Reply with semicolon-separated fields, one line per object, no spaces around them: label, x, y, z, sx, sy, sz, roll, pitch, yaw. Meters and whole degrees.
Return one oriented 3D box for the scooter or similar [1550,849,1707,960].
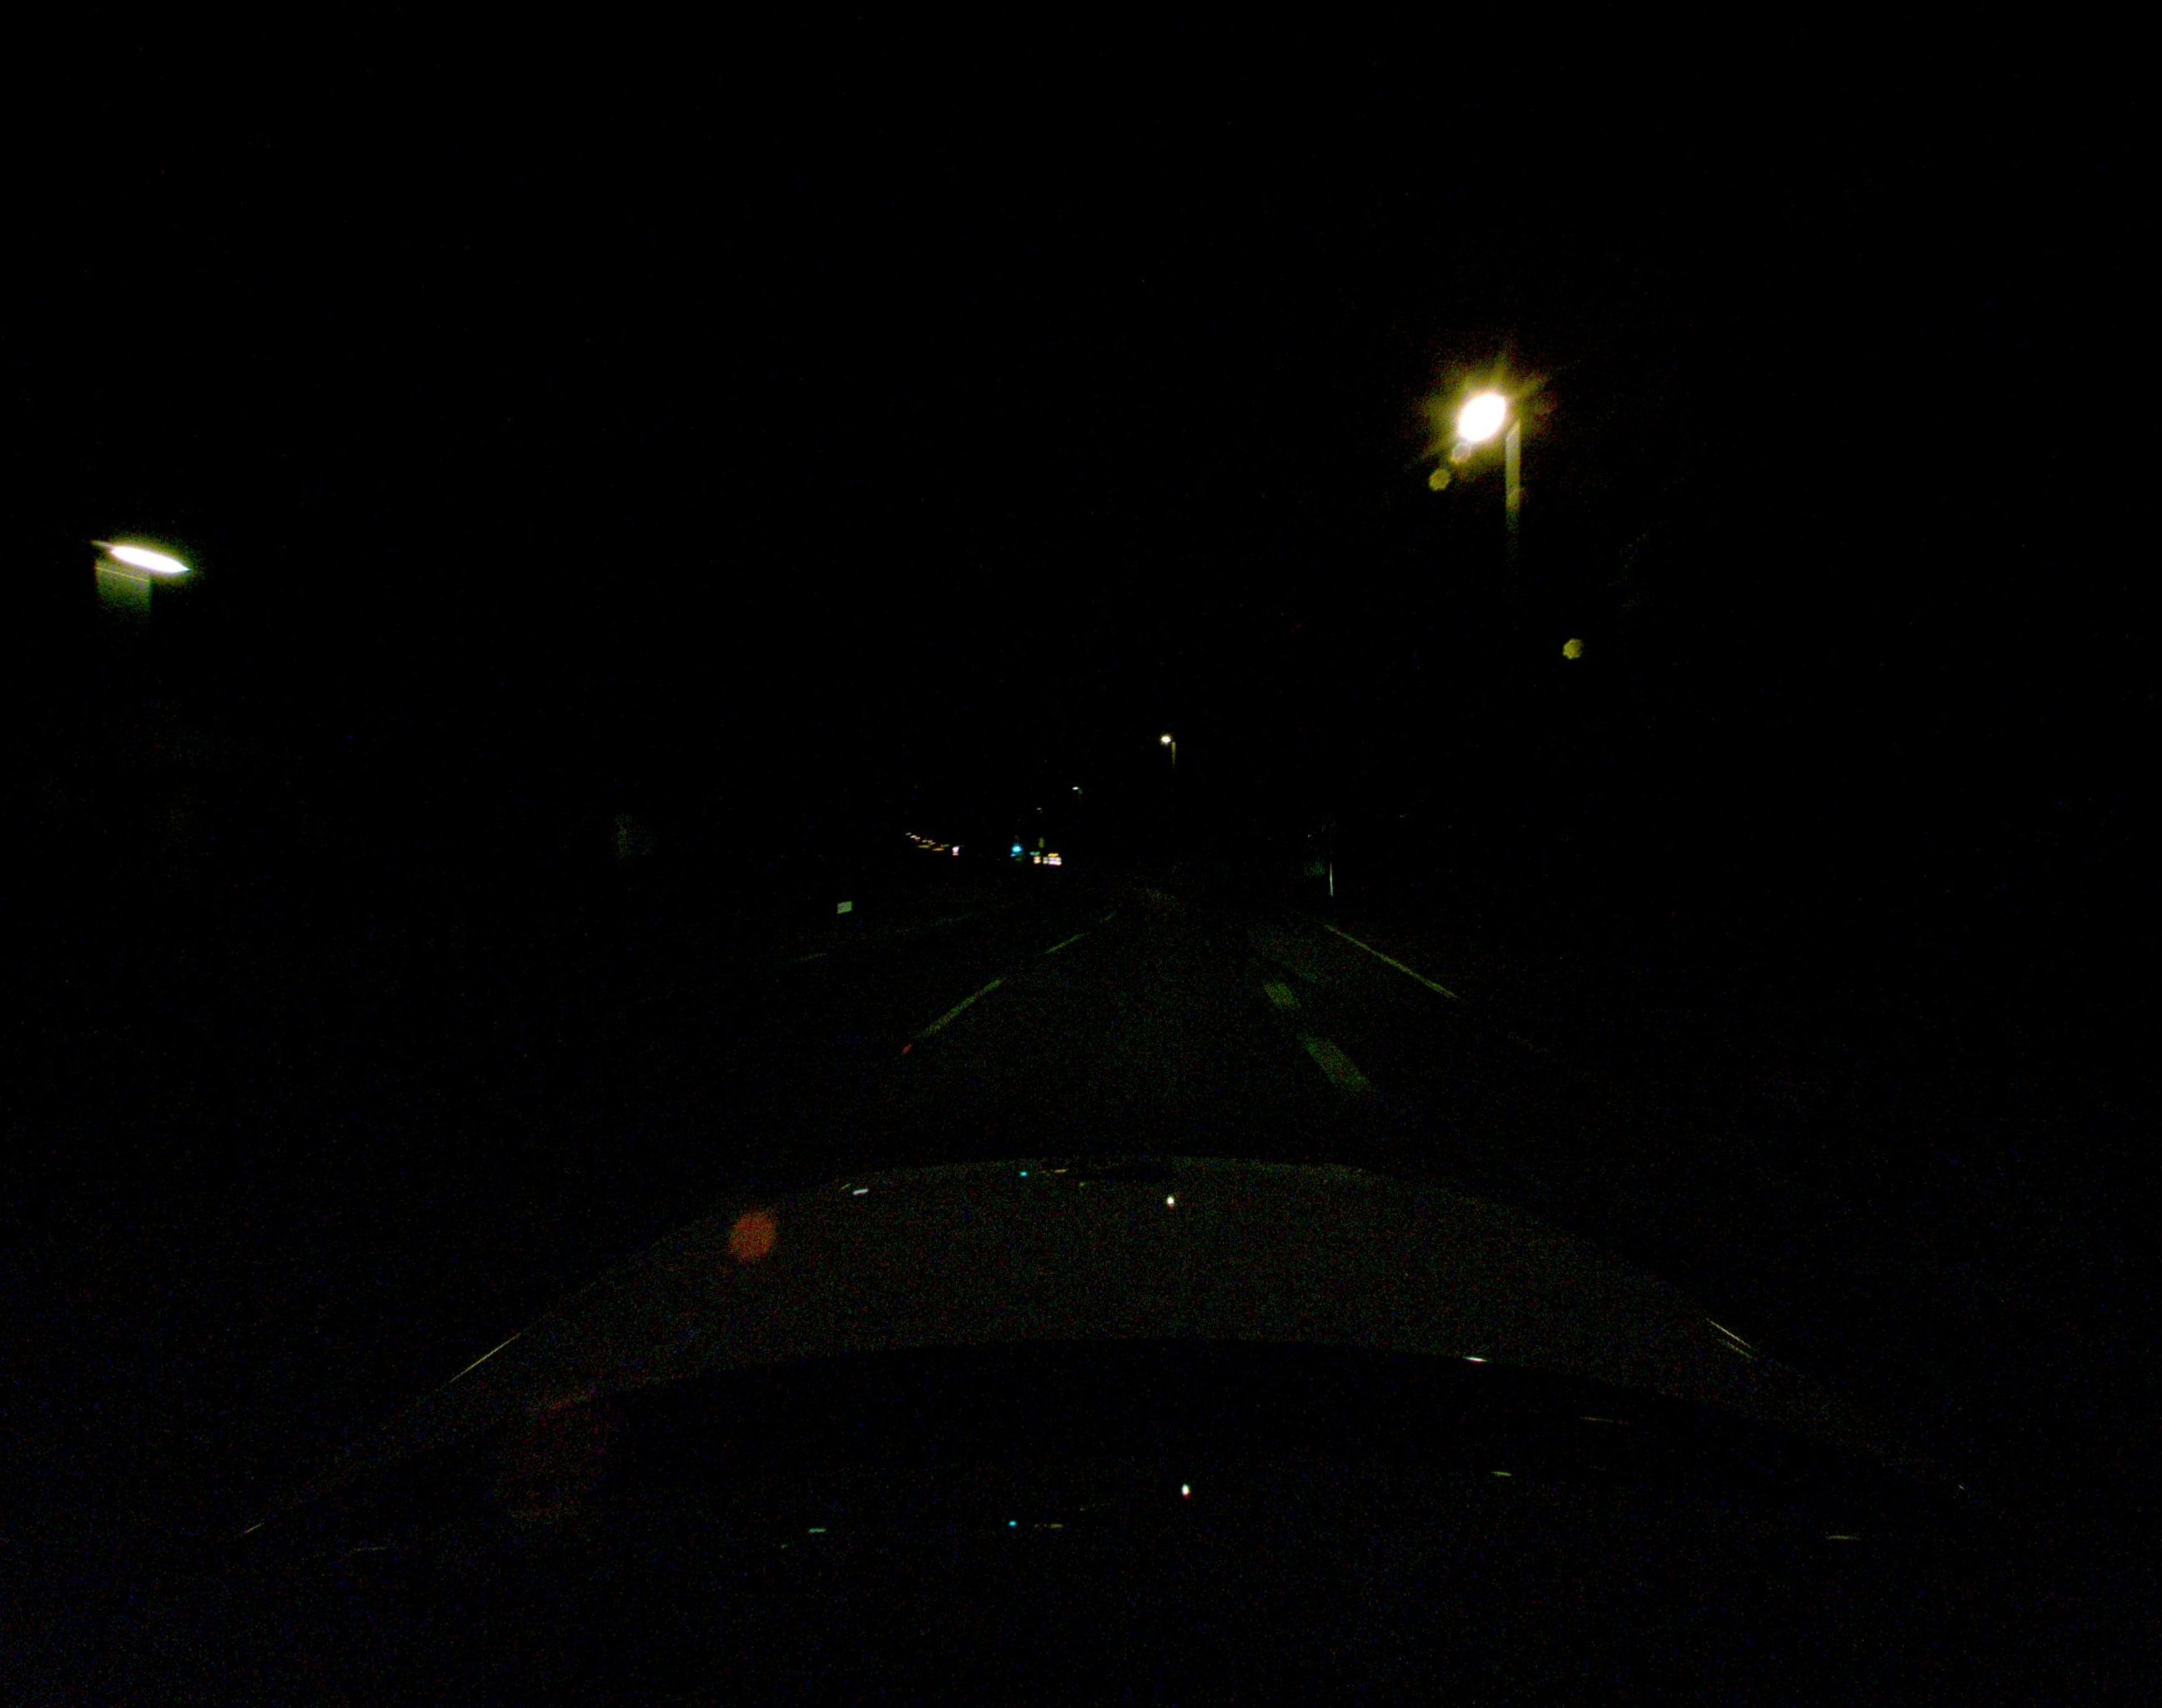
scooter or similar;6.905;0.588;10.375;0.612;1.281;1.682;0;1;-14
